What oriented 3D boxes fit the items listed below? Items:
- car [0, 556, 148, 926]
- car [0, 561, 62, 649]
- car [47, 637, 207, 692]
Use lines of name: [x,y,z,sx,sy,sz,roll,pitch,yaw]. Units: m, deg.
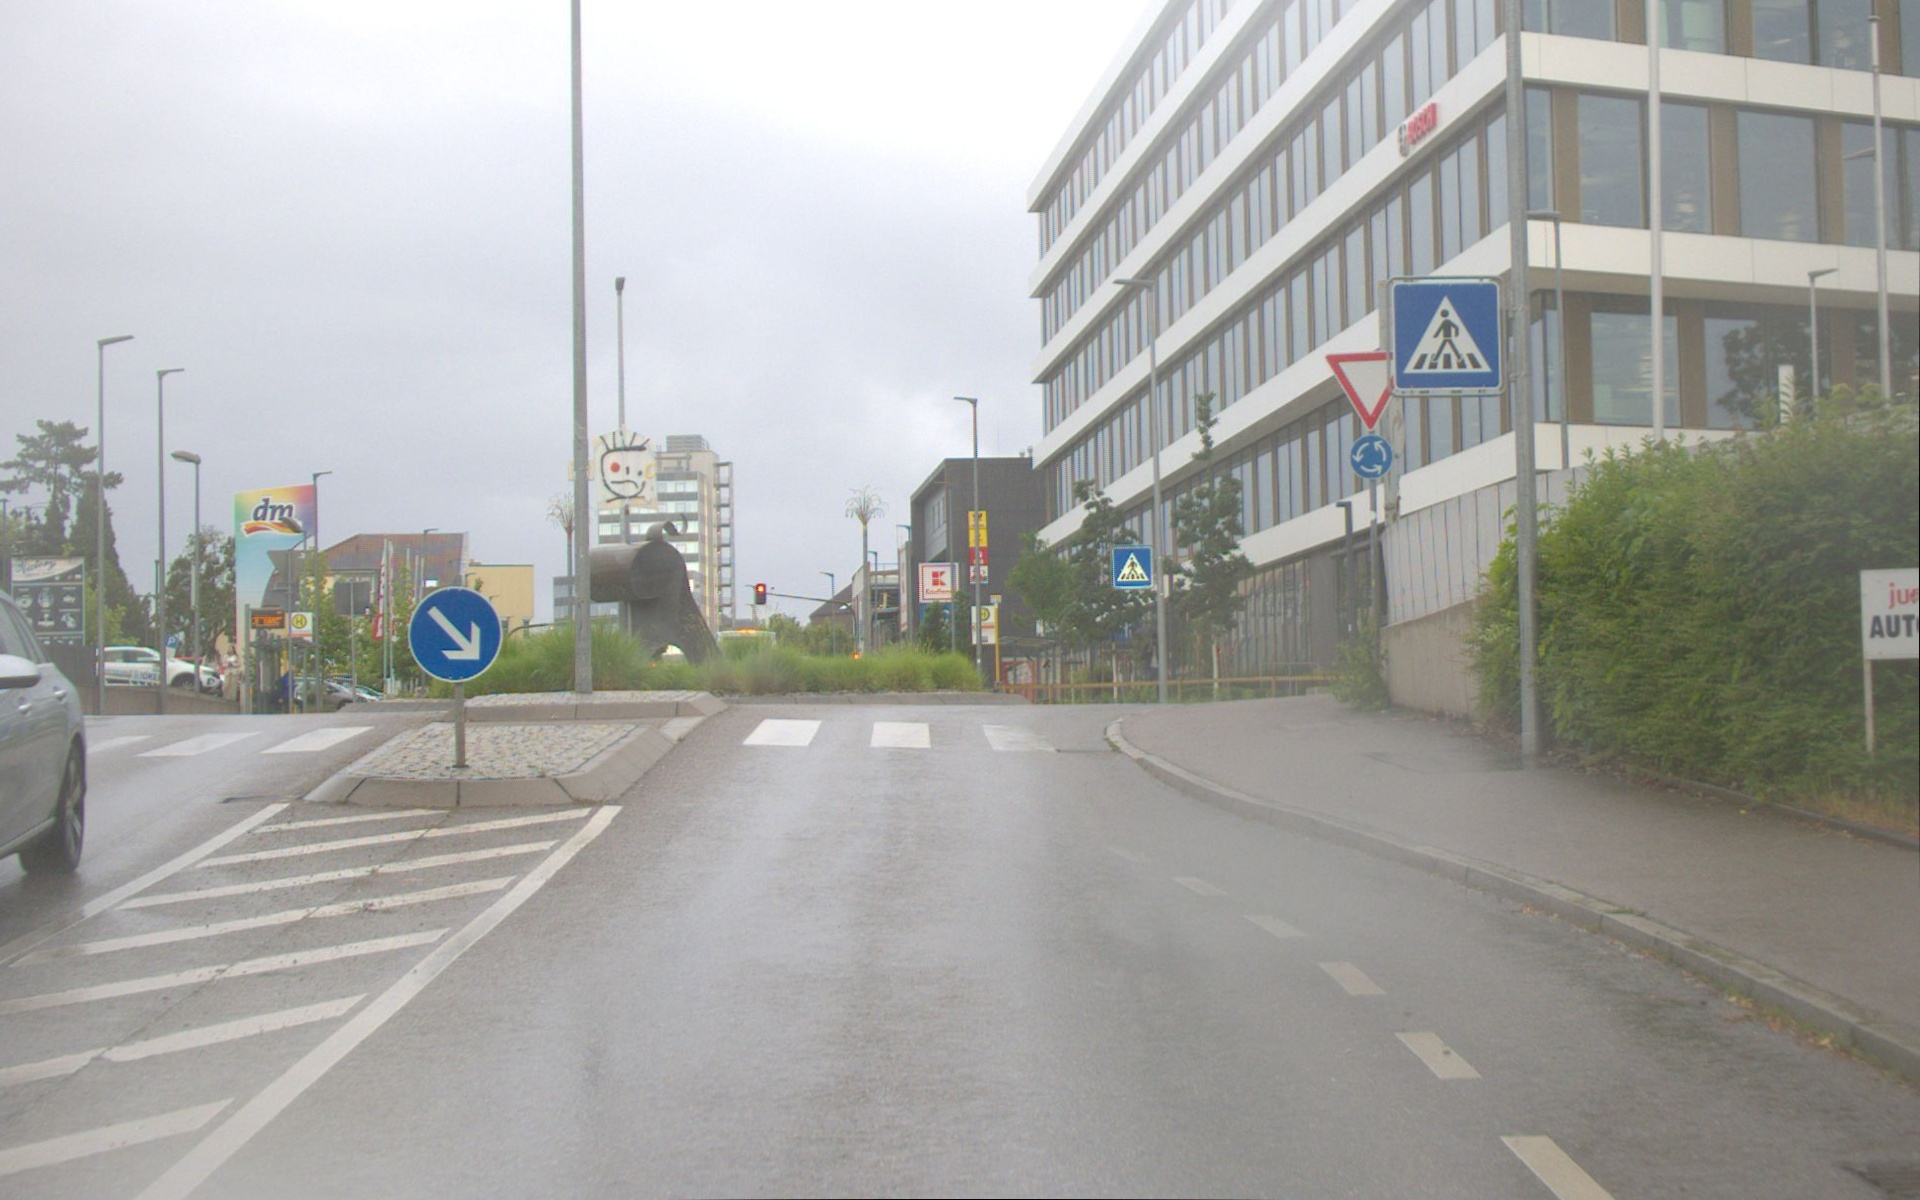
car: [-4.956,0.570,15.054,2.001,1.421,4.782,-1,2,-5]
car: [-22.954,0.111,82.259,1.993,2.007,5.001,-1,1,-5]
car: [-22.454,1.745,92.681,4.020,1.415,1.769,0,-2,-20]
